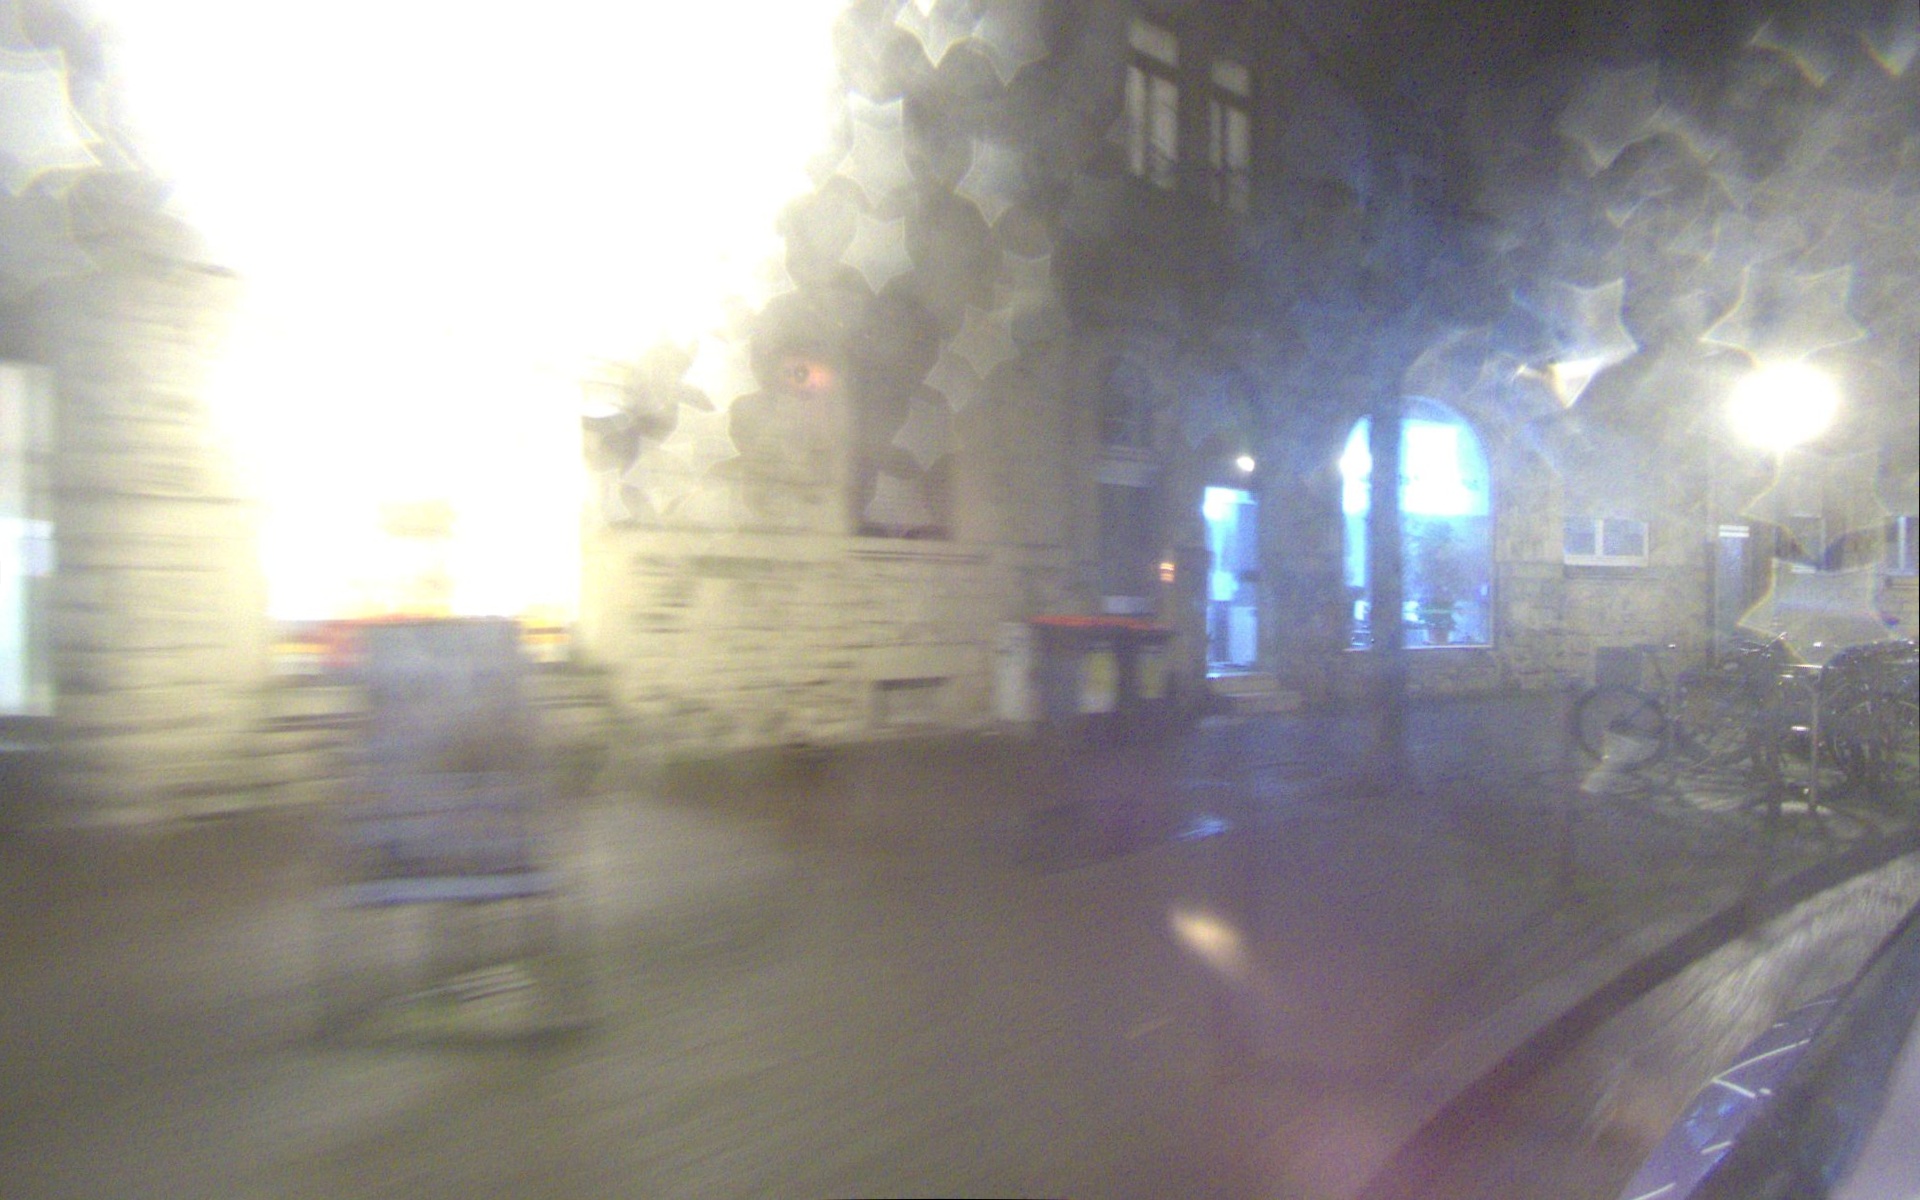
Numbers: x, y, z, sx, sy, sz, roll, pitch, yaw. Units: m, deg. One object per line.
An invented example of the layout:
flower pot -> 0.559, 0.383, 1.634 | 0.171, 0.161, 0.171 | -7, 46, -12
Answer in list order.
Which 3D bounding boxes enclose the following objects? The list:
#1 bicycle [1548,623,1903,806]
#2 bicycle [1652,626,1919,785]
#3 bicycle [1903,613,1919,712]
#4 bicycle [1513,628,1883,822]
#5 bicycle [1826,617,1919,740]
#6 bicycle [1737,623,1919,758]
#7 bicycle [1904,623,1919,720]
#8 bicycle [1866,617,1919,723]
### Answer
bicycle -> 5.460, 0.742, 7.392 | 0.629, 1.047, 1.978 | 0, 2, -27
bicycle -> 6.683, 0.769, 7.959 | 0.629, 1.019, 1.978 | 0, 2, -27
bicycle -> 11.431, 0.728, 10.818 | 0.706, 1.100, 1.828 | 0, 2, -27
bicycle -> 4.939, 0.762, 6.962 | 0.629, 1.019, 1.978 | 0, 2, -27
bicycle -> 9.192, 0.744, 9.139 | 0.629, 1.078, 1.978 | 0, 2, -27
bicycle -> 7.940, 0.764, 8.644 | 0.629, 1.019, 1.978 | 0, 2, -27
bicycle -> 10.429, 0.785, 9.852 | 0.630, 1.019, 1.975 | 0, 1, 1
bicycle -> 10.530, 0.751, 10.244 | 0.631, 1.066, 1.971 | -1, 2, -42
